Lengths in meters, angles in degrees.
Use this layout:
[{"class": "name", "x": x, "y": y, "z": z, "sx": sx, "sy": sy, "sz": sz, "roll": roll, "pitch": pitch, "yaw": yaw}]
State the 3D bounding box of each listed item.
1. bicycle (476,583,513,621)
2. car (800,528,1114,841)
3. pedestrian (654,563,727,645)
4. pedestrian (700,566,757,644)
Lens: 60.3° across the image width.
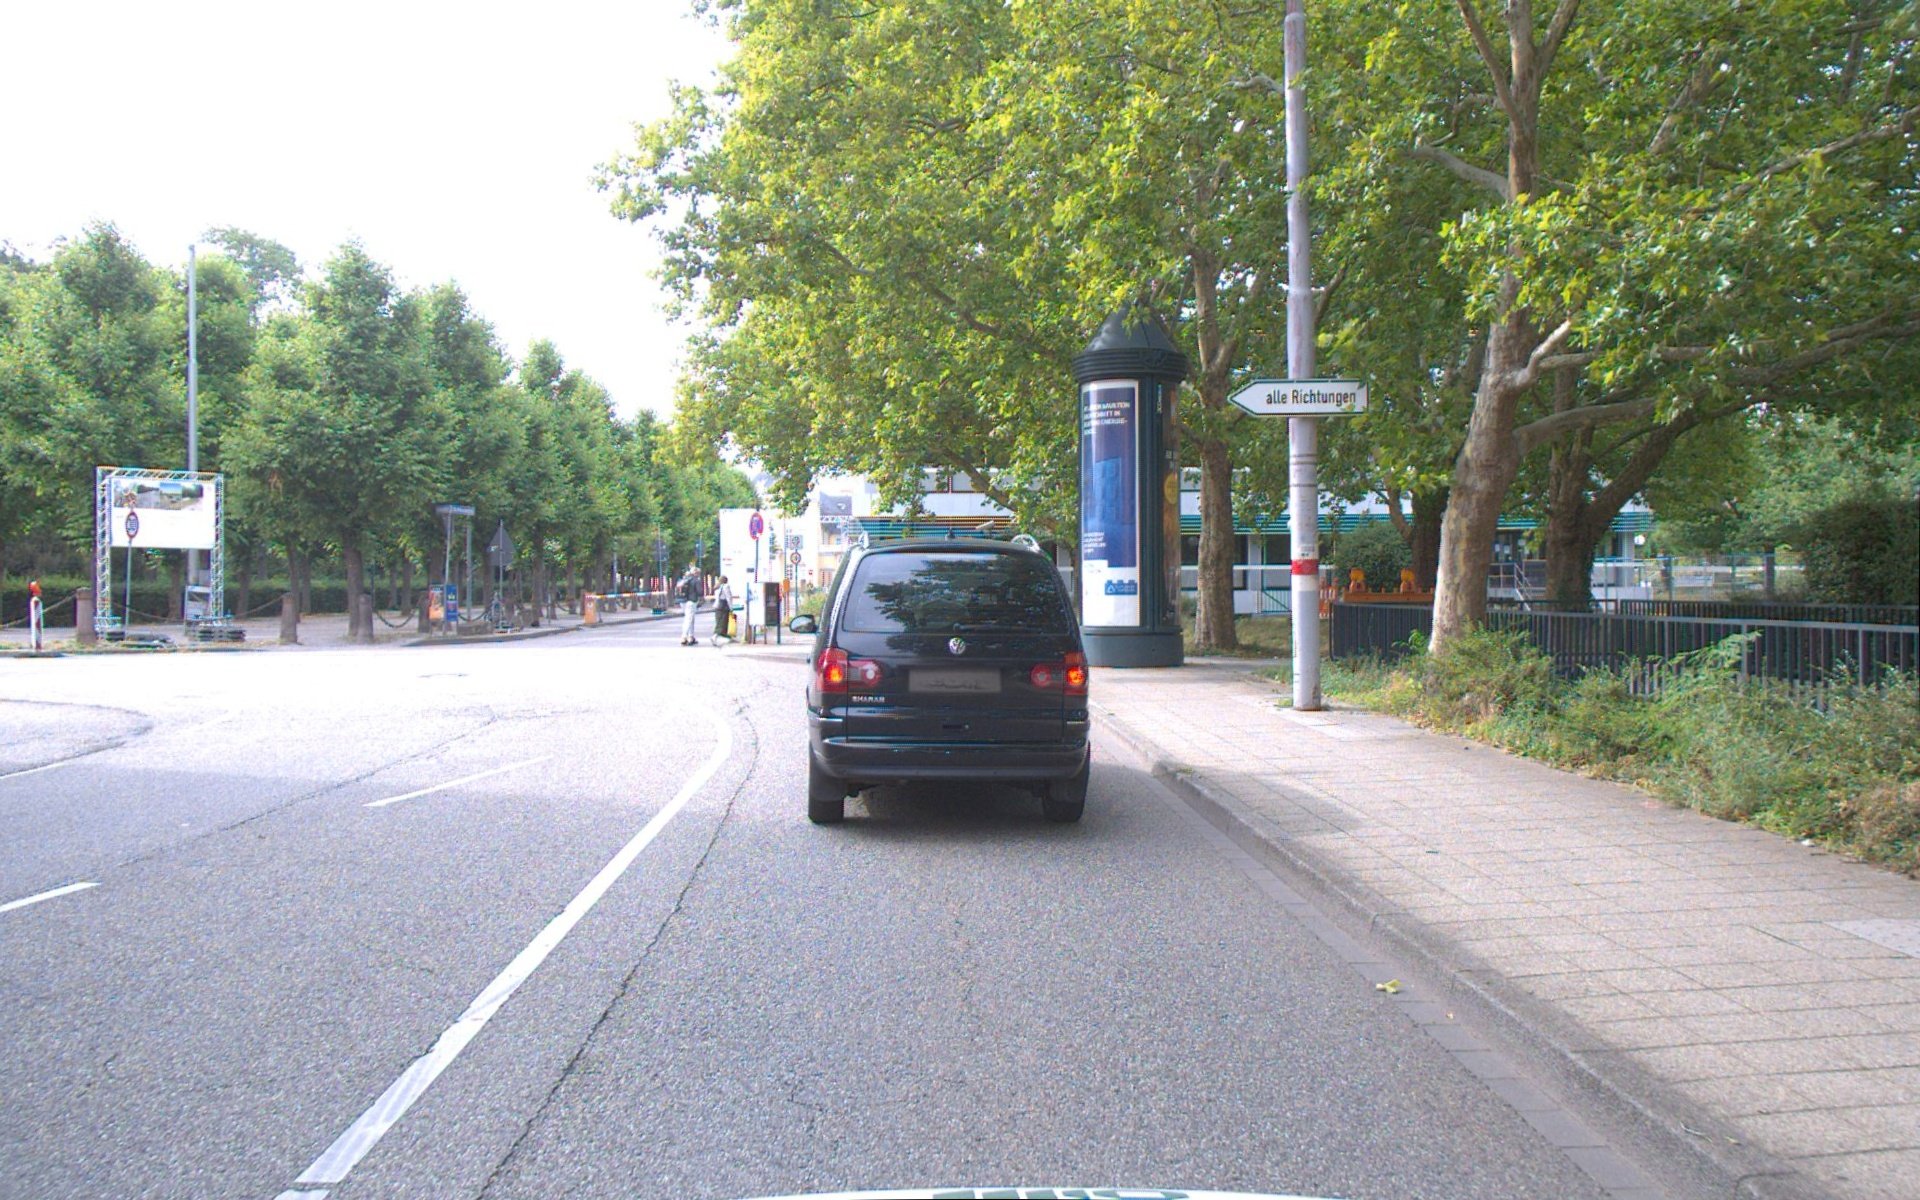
[{"class": "bicycle", "x": -14.519, "y": 0.050, "z": 51.542, "sx": 0.938, "sy": 1.129, "sz": 2.565, "roll": 1, "pitch": 1, "yaw": -19}, {"class": "car", "x": -0.188, "y": 0.438, "z": 11.397, "sx": 1.758, "sy": 1.738, "sz": 4.127, "roll": -1, "pitch": 1, "yaw": -5}, {"class": "pedestrian", "x": -5.934, "y": 0.079, "z": 36.449, "sx": 0.944, "sy": 1.772, "sz": 1.251, "roll": 2, "pitch": 1, "yaw": 36}, {"class": "pedestrian", "x": -5.045, "y": 0.100, "z": 36.097, "sx": 0.880, "sy": 1.670, "sz": 0.850, "roll": 1, "pitch": 1, "yaw": 33}]
